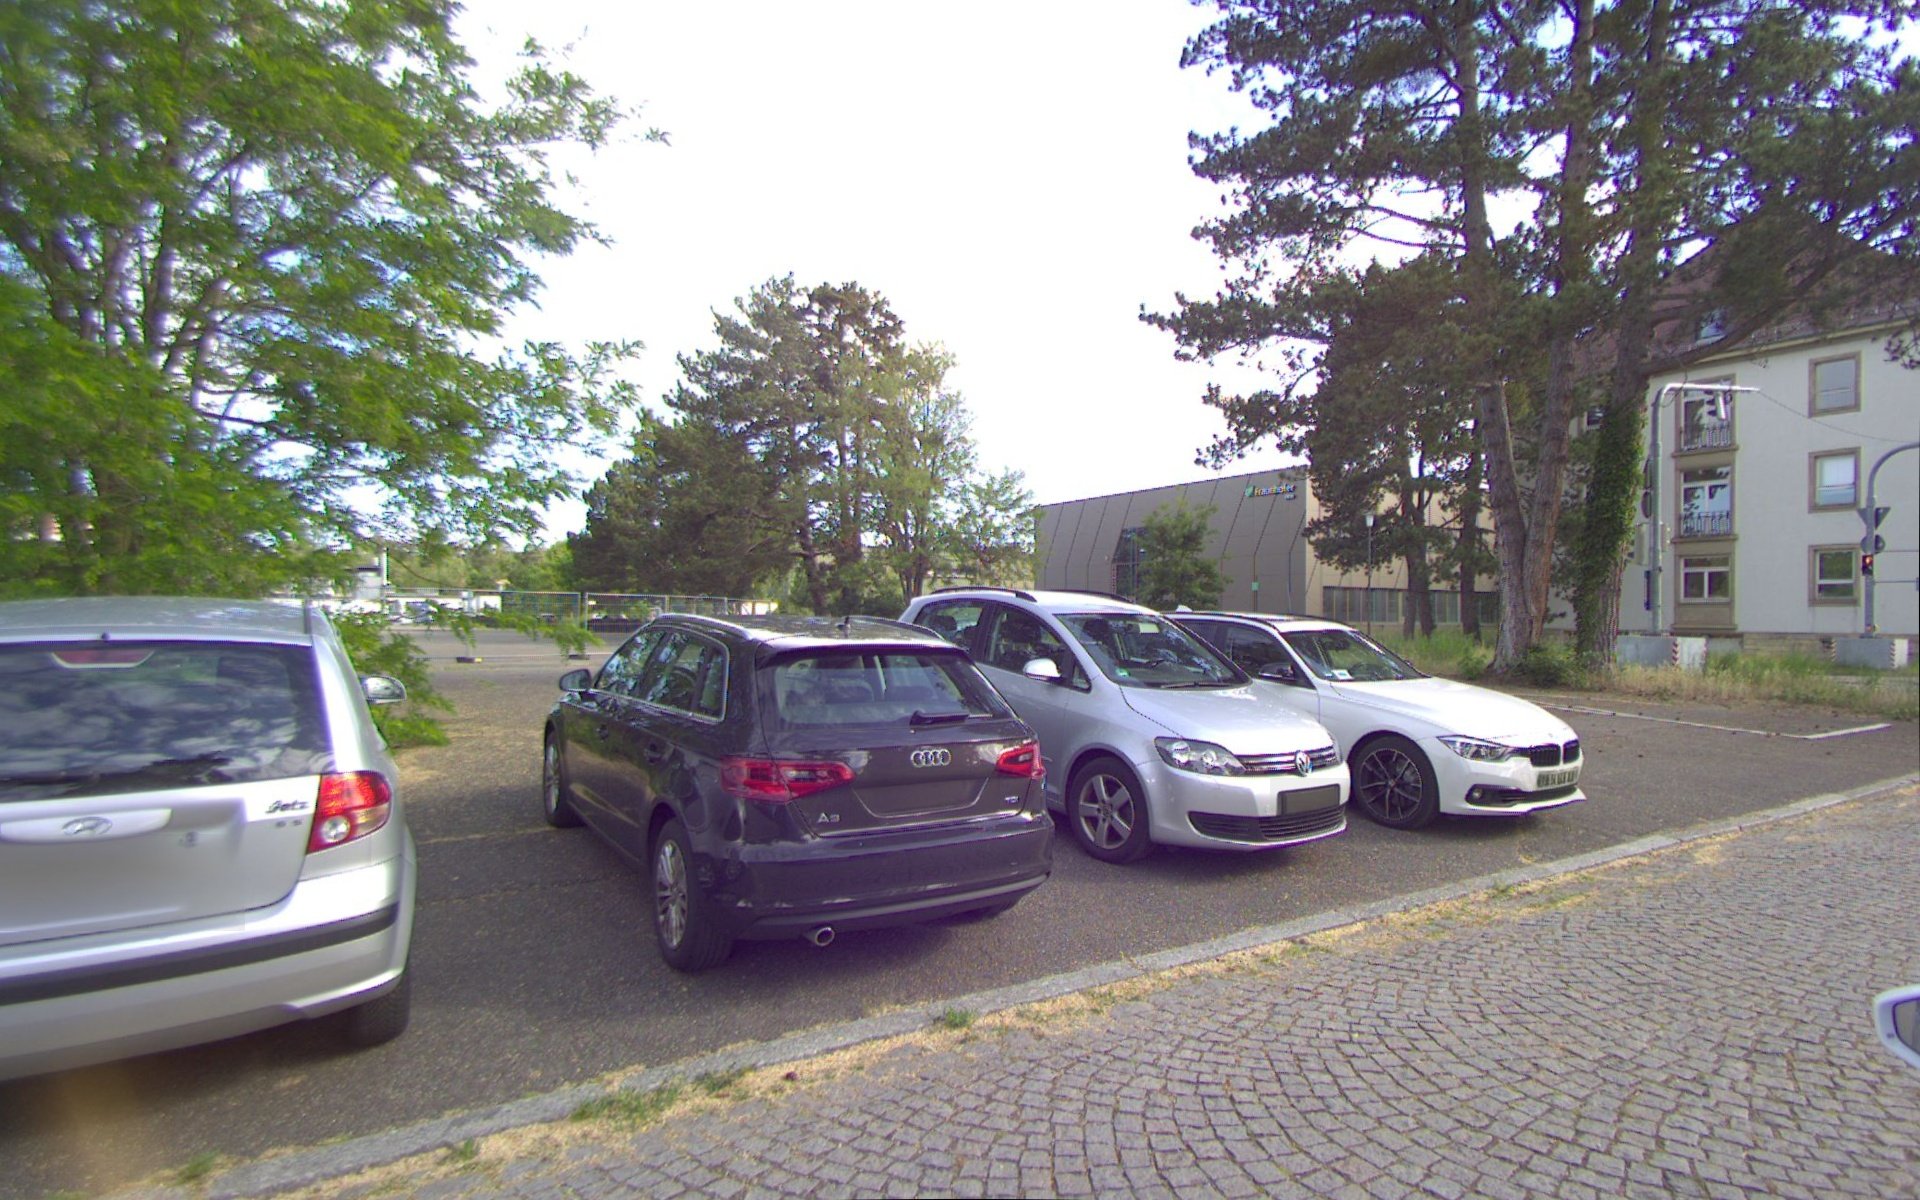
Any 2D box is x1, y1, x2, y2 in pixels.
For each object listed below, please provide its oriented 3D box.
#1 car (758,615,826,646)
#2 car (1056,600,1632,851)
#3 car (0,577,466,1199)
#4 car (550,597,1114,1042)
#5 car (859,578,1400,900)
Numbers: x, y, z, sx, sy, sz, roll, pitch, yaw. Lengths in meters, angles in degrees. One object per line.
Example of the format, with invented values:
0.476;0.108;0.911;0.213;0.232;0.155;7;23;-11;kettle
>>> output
-7.689;1.374;45.678;1.576;1.355;3.705;1;-1;-36;car
2.977;0.815;8.777;1.812;1.461;4.448;1;1;-34;car
-3.193;0.713;4.145;1.630;1.495;3.554;1;2;-33;car
-1.047;0.776;5.578;1.676;1.427;3.814;1;2;-32;car
0.933;0.704;7.305;1.717;1.629;3.807;1;1;-34;car
